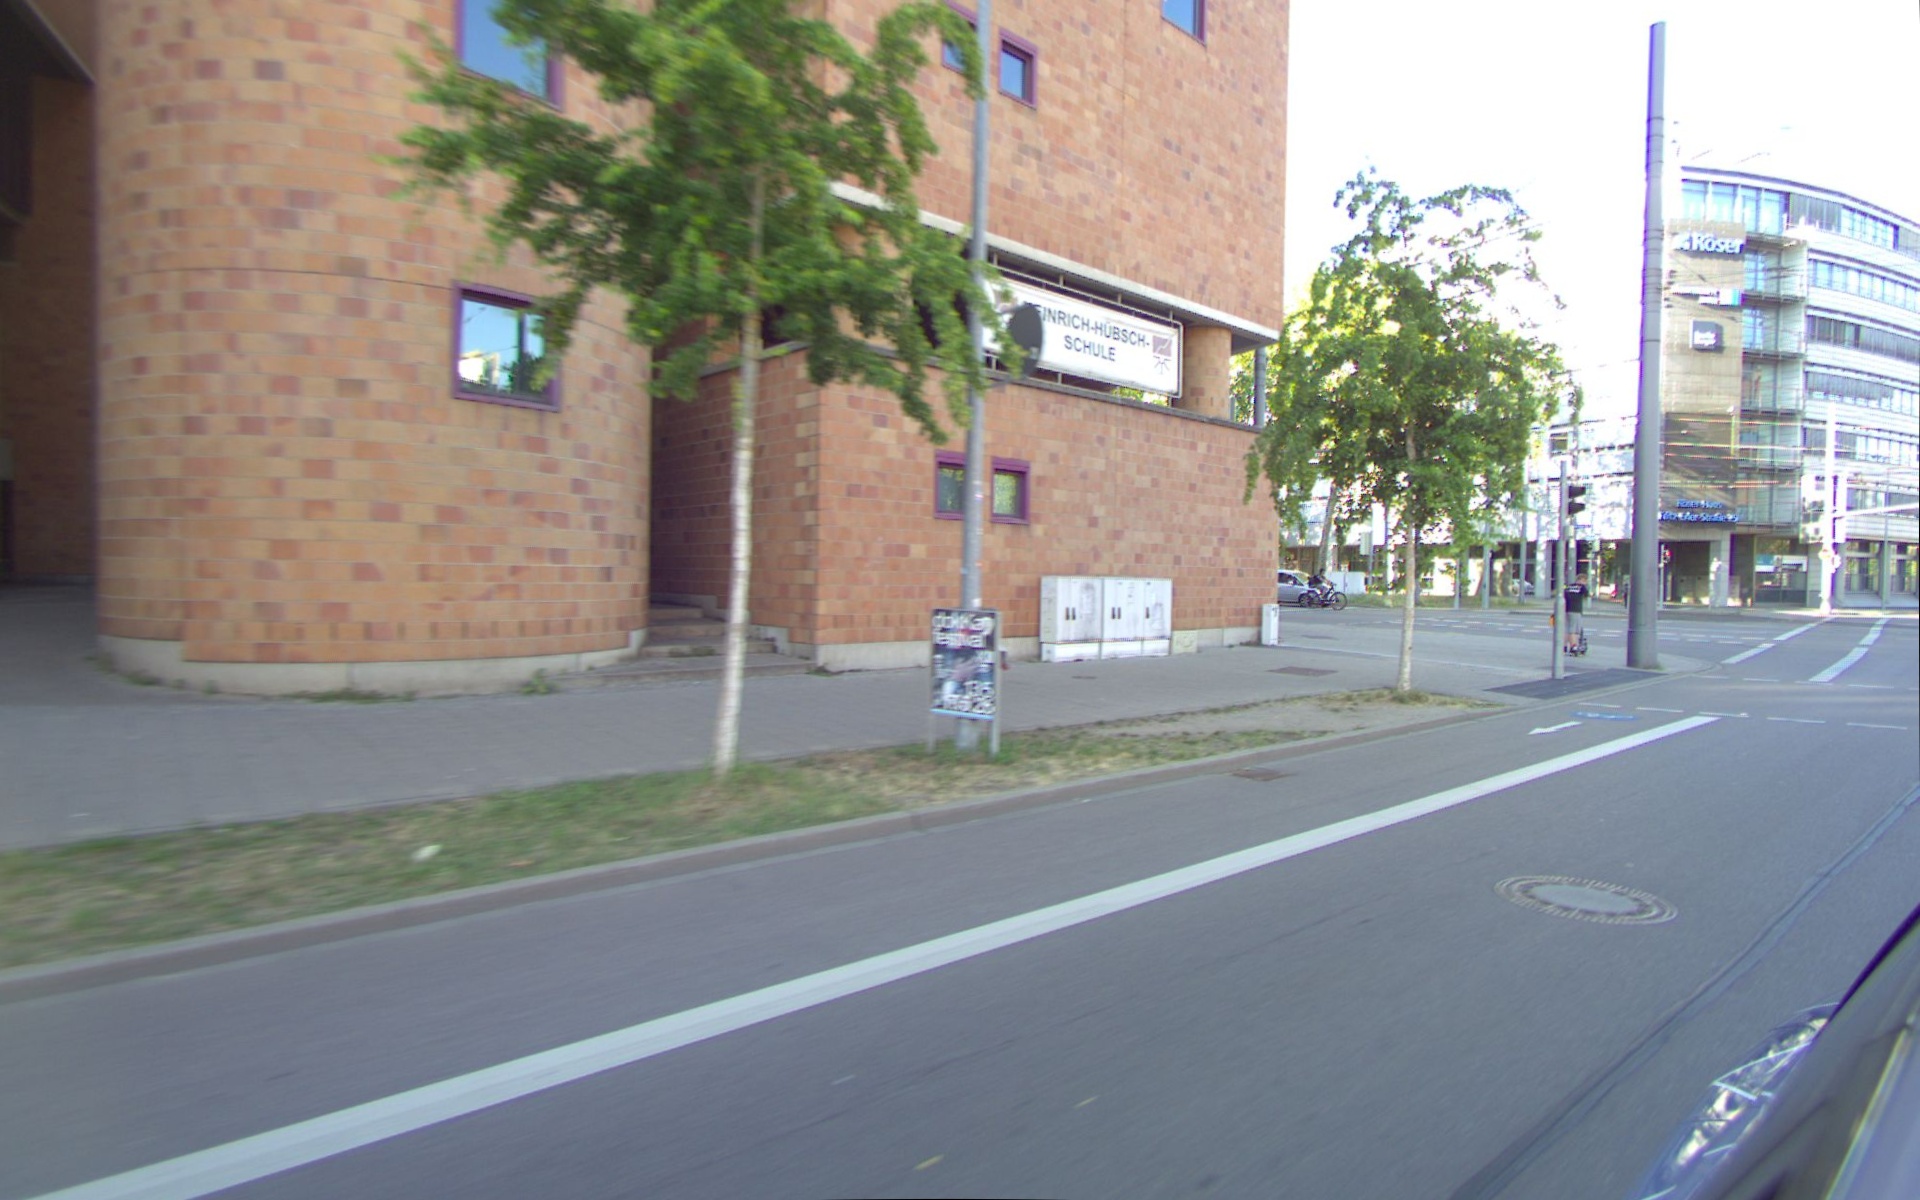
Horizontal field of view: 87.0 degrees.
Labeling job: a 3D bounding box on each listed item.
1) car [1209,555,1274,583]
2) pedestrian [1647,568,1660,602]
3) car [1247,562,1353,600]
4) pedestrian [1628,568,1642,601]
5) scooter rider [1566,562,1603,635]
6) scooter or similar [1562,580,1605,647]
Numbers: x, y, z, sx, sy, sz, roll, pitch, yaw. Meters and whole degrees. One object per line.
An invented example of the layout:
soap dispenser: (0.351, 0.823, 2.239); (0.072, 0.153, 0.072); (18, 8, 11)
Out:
car: (21.180, -2.352, 76.223); (1.963, 2.038, 4.383); (-1, 2, -37)
pedestrian: (37.908, -0.826, 55.319); (0.544, 1.846, 0.369); (2, 2, 38)
car: (15.146, -0.875, 45.260); (1.703, 1.616, 4.325); (-1, 2, -36)
pedestrian: (37.284, -0.856, 55.885); (0.586, 1.846, 0.537); (2, 2, 38)
scooter rider: (13.050, -0.042, 21.139); (0.506, 1.479, 0.711); (2, 2, 44)
scooter or similar: (12.989, 0.266, 21.079); (0.527, 1.334, 1.115); (2, 2, 43)
